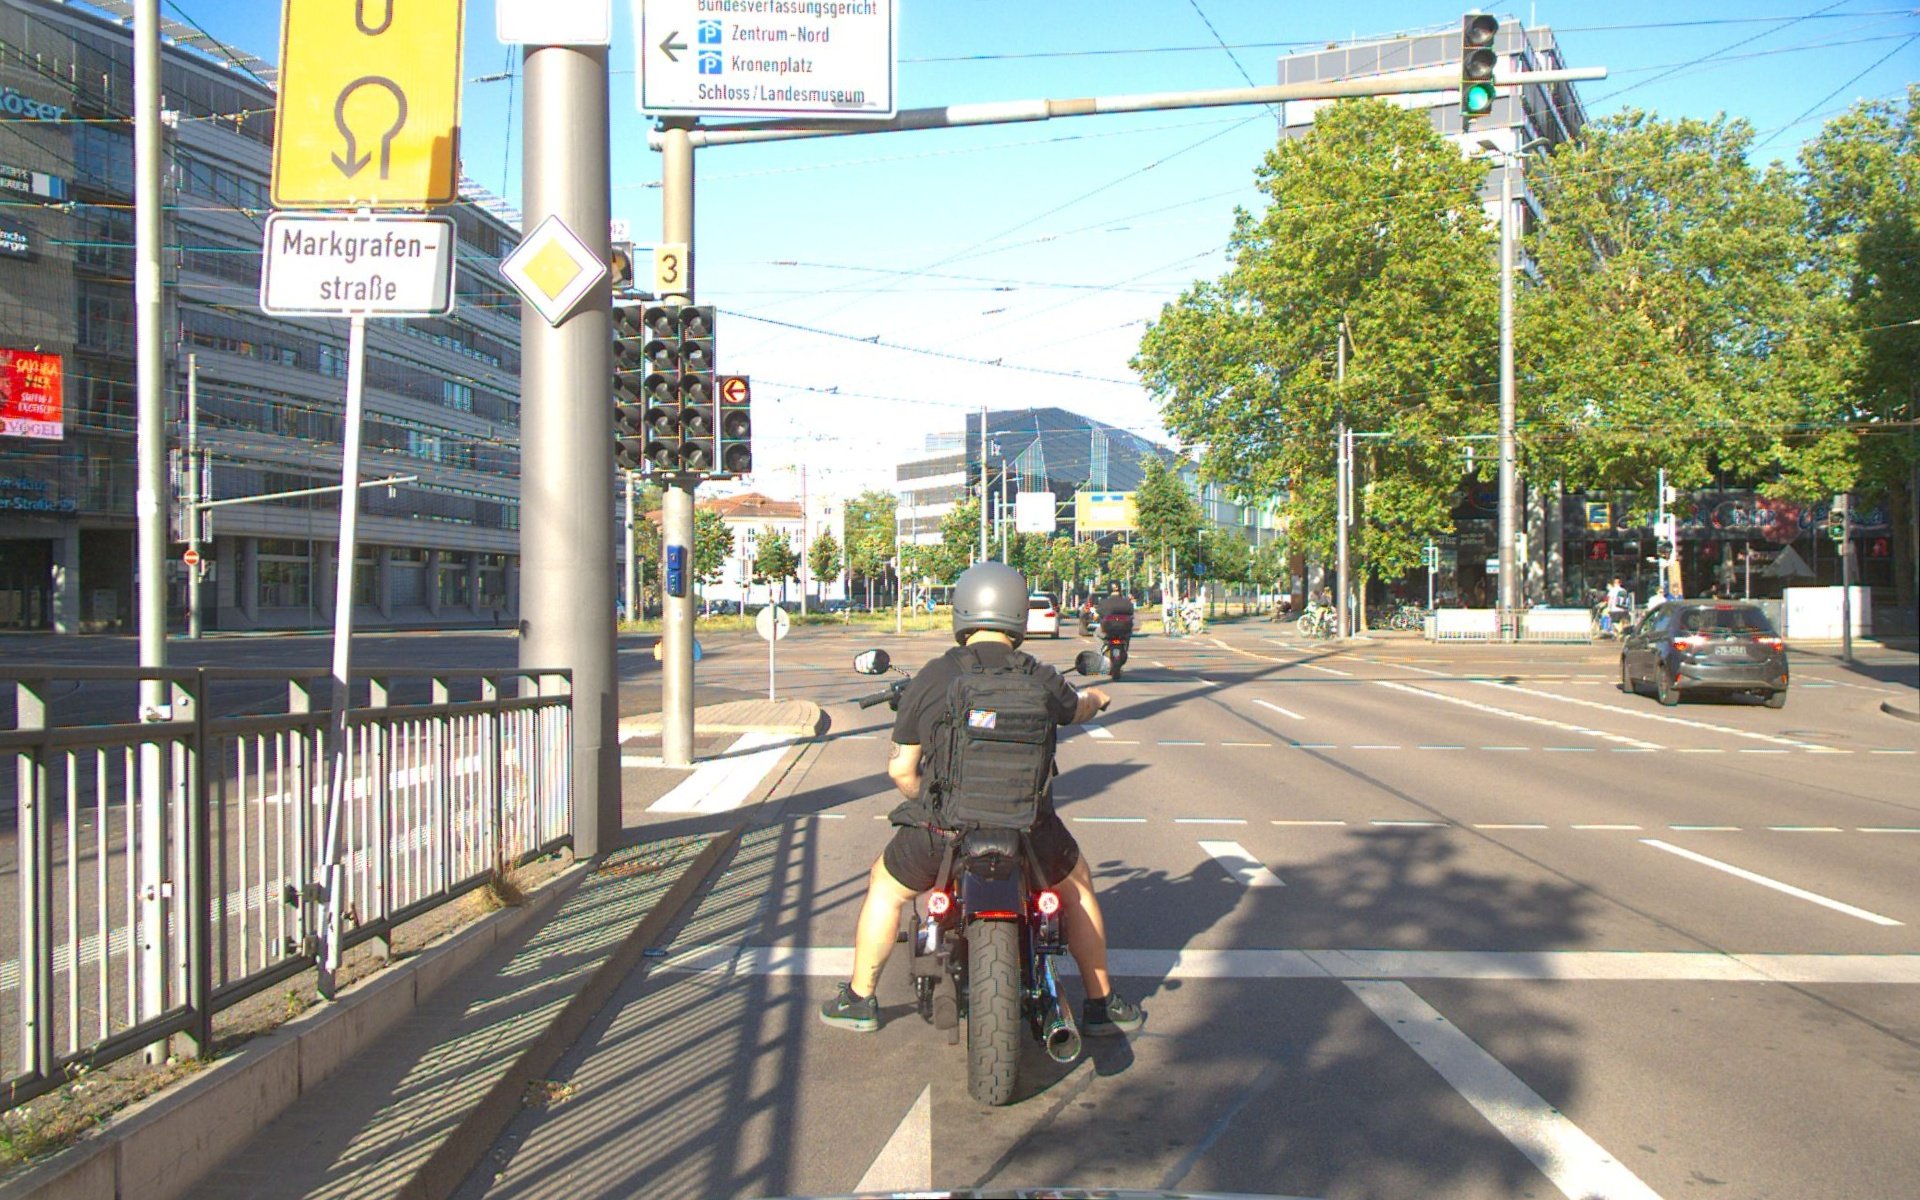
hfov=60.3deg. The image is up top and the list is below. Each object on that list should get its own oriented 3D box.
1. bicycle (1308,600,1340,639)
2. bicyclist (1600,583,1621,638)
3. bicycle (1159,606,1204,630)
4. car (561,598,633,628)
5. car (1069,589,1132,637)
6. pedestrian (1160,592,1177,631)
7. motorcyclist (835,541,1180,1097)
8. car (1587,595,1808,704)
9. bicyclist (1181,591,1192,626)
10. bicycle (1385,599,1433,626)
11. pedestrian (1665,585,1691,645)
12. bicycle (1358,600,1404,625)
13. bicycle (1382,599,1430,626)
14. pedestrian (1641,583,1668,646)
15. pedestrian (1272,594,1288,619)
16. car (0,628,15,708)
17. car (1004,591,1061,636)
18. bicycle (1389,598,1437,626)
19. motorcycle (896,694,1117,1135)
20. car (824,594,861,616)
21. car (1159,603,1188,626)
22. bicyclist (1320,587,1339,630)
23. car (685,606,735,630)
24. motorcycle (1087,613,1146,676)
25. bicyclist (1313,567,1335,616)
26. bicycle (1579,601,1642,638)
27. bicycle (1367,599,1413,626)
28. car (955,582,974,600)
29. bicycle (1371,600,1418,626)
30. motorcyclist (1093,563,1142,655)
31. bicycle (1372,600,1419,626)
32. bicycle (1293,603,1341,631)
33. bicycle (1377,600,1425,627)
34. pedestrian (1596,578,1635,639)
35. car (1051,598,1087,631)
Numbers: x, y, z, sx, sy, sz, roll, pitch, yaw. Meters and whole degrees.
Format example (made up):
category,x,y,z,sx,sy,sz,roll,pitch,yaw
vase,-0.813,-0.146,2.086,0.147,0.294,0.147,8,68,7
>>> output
category,x,y,z,sx,sy,sz,roll,pitch,yaw
bicycle,13.536,0.729,61.548,0.710,1.391,2.918,1,-1,3
bicyclist,22.390,0.372,56.923,0.572,1.870,0.402,1,-1,-1
bicycle,9.004,0.721,67.189,1.792,0.942,0.357,1,-1,-9
car,-18.608,0.632,84.948,1.786,1.455,4.533,0,0,14
car,5.522,0.478,65.574,1.698,1.762,4.607,1,1,-5
pedestrian,8.671,0.487,68.711,0.576,1.584,0.488,1,-1,-9
motorcyclist,0.133,0.638,5.284,1.009,1.621,0.873,0,0,-1
car,11.060,0.687,25.124,1.695,1.475,4.042,1,0,3
bicyclist,9.208,0.359,67.224,0.374,1.397,0.344,1,-1,-9
bicycle,18.109,0.498,66.770,1.842,1.065,0.360,1,-1,-2
pedestrian,18.124,0.385,41.750,0.554,1.505,0.702,1,-1,20
bicycle,18.051,0.532,70.909,1.842,1.064,0.360,1,0,-2
bicycle,18.221,0.521,67.588,1.842,1.065,0.360,1,-1,-2
pedestrian,17.499,0.375,41.684,0.554,1.559,0.702,1,-1,17
pedestrian,17.579,0.370,90.927,0.802,1.337,0.638,1,-1,8
car,-14.555,0.903,22.421,2.835,1.081,1.235,1,-1,-22
car,2.477,0.462,57.519,1.696,1.482,4.417,1,-1,-1
bicycle,18.072,0.478,65.986,1.842,1.065,0.360,1,-1,-2
motorcycle,0.111,0.926,5.644,0.588,1.054,2.233,1,0,-1
car,-8.951,0.402,126.078,1.712,1.550,4.003,1,-1,13
car,17.080,1.171,132.056,1.765,1.708,4.043,1,-1,15
bicyclist,14.596,0.350,65.389,0.673,1.702,0.541,0,-1,18
car,-15.780,1.155,104.689,1.786,1.455,4.244,1,-1,11
motorcycle,2.774,0.771,29.579,0.787,1.069,2.375,1,-1,-1
bicyclist,13.560,-0.312,61.684,0.682,1.840,0.729,1,-1,3
bicycle,22.368,0.686,56.912,2.001,1.235,0.421,1,-1,-1
bicycle,18.141,0.533,69.760,1.842,1.064,0.360,1,0,-2
car,0.619,-1.099,204.973,1.951,2.049,4.303,1,-1,5
bicycle,18.183,0.535,69.261,1.842,1.064,0.360,1,0,-2
motorcyclist,2.781,0.165,29.283,0.780,1.607,0.529,1,-1,-2
bicycle,18.094,0.542,68.773,1.842,1.065,0.360,1,-1,-2
bicycle,14.150,0.672,65.528,1.831,1.062,0.537,0,-1,18
bicycle,18.174,0.537,68.143,1.842,1.064,0.360,1,0,-2
pedestrian,19.014,0.243,47.964,0.816,1.734,0.759,1,-1,-1
car,5.757,0.780,87.849,1.766,1.708,4.042,1,-1,2
